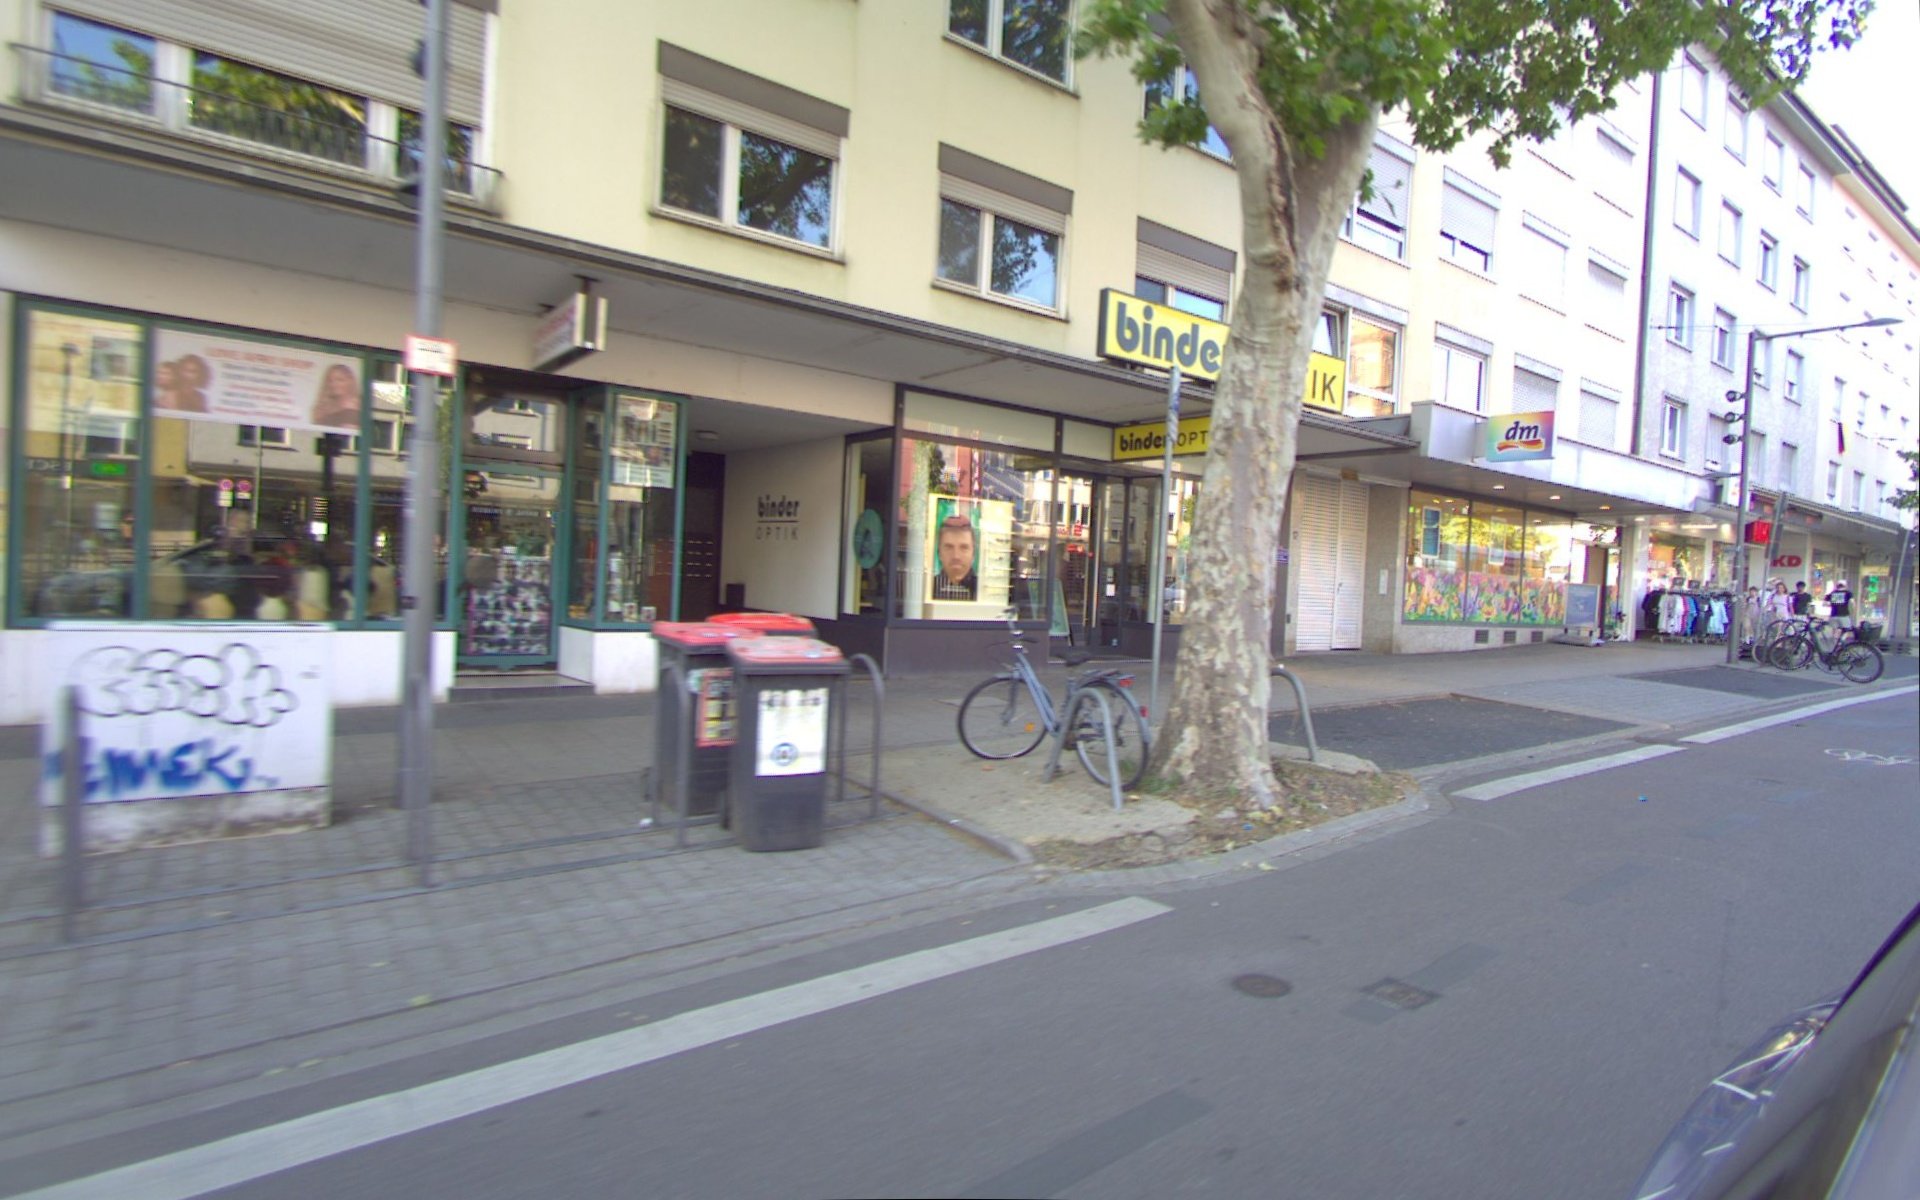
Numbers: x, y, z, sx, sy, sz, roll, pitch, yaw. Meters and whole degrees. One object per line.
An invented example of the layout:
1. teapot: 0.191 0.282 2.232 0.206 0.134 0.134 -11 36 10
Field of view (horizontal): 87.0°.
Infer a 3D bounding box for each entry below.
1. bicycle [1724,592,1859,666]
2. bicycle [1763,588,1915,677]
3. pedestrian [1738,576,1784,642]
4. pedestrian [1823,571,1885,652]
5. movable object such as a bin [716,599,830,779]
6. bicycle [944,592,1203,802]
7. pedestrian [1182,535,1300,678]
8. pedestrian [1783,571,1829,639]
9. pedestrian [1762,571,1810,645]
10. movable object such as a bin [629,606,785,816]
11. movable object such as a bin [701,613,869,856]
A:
1. bicycle: 15.916 0.531 19.425 1.776 1.137 0.658 8 6 27
2. bicycle: 15.692 0.558 18.128 0.679 1.327 1.798 2 6 -25
3. pedestrian: 19.154 0.213 24.200 0.879 1.520 0.542 2 3 -37
4. pedestrian: 21.320 0.272 24.141 0.913 1.821 0.776 1 4 -35
5. movable object such as a bin: -1.270 0.566 6.794 0.630 1.085 0.726 1 3 -18
6. bicycle: 0.701 0.554 6.760 0.732 1.130 1.723 -4 4 -36
7. pedestrian: 3.731 0.057 13.468 1.112 1.784 0.971 0 3 -36
8. pedestrian: 21.901 0.119 26.188 1.050 1.695 0.570 1 4 -36
9. pedestrian: 18.960 0.180 23.218 0.879 1.648 0.548 2 3 -37
10. movable object such as a bin: -1.516 0.614 6.034 0.632 1.084 0.724 0 5 -39
11. movable object such as a bin: -0.959 0.672 5.436 0.631 1.115 0.726 1 6 -30
